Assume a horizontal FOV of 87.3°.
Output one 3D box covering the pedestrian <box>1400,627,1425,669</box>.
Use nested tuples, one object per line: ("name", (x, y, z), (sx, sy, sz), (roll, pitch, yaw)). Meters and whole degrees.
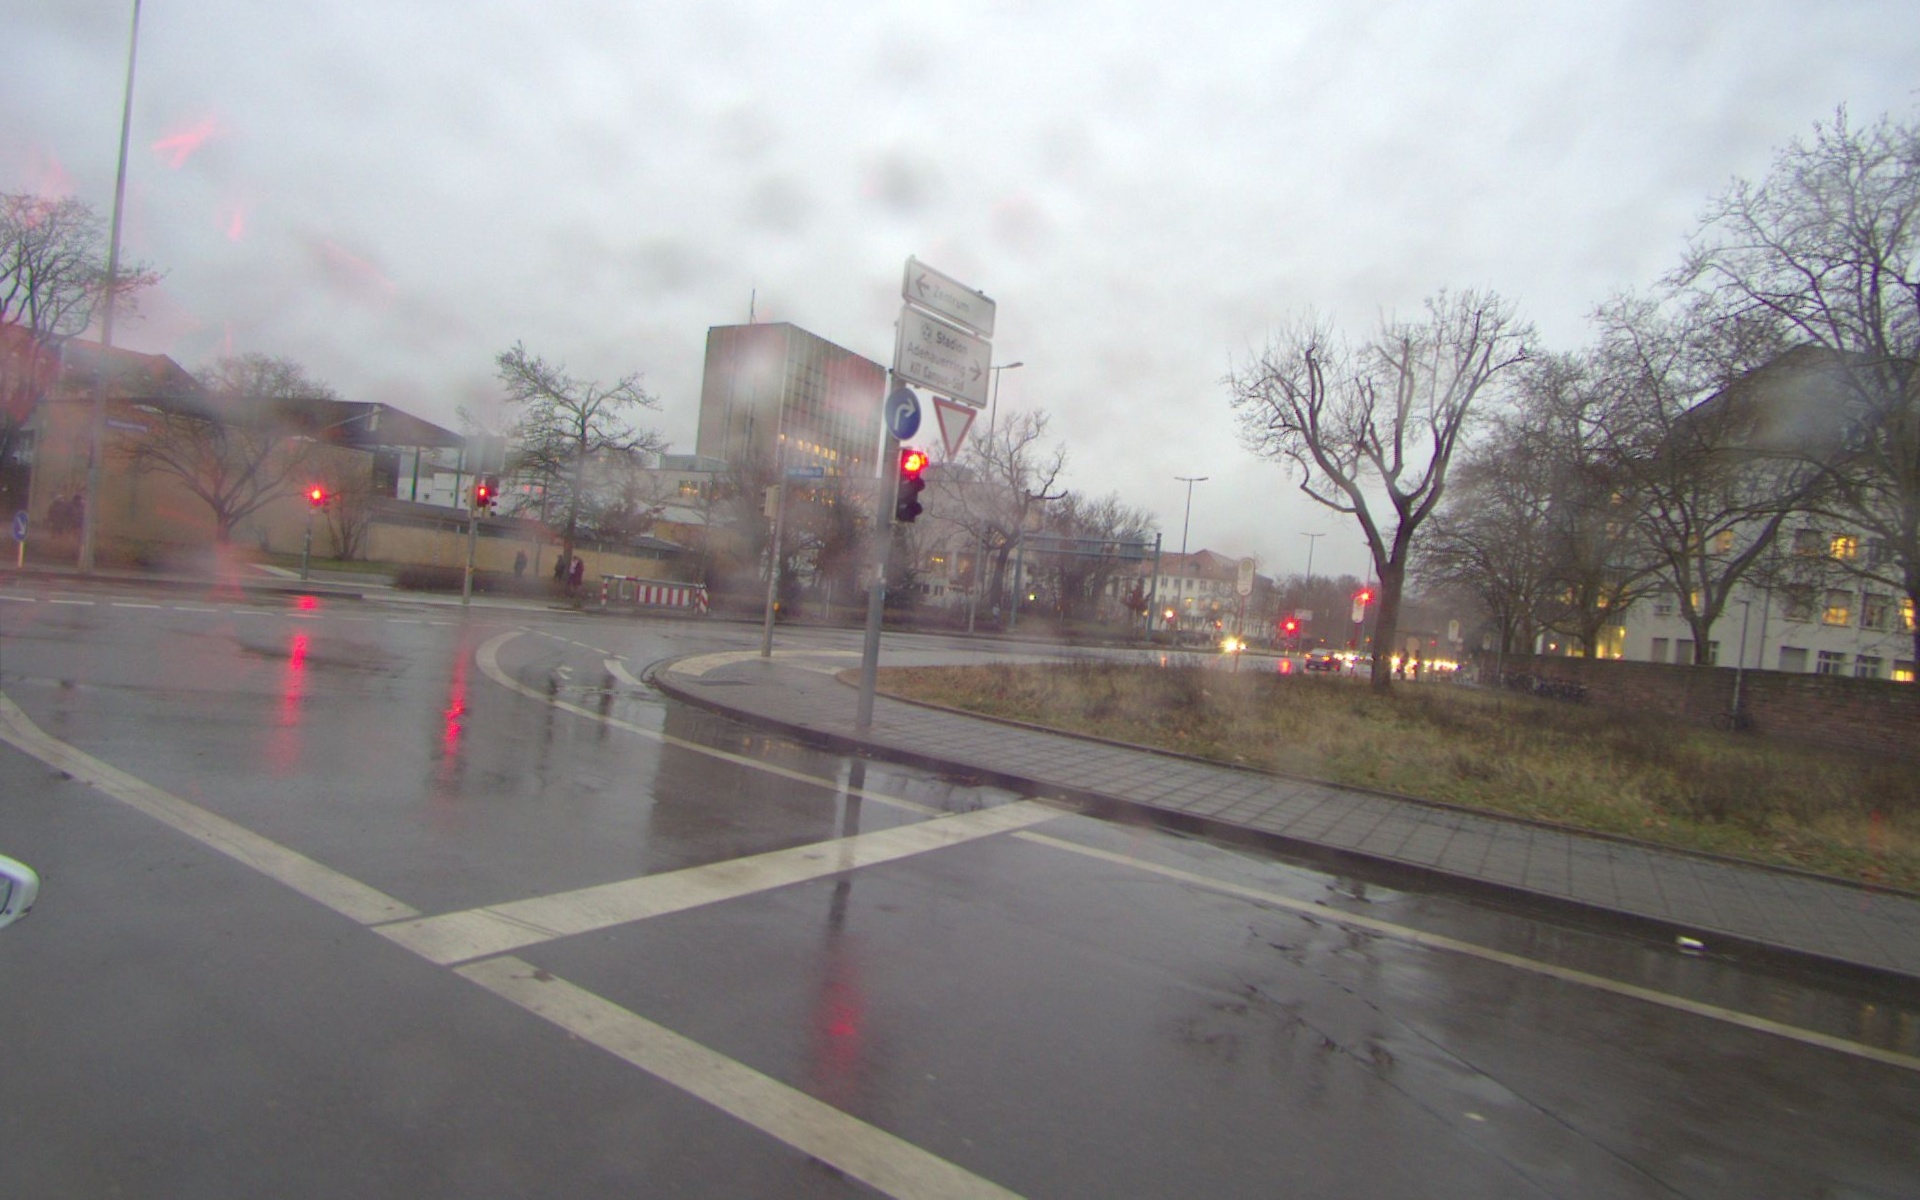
("pedestrian", (21.125, 2.235, 46.971), (0.823, 1.857, 0.667), (5, -1, 34))

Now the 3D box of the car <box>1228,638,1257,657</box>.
("car", (30.509, 5.096, 108.559), (1.719, 1.670, 4.240), (5, -3, 33))

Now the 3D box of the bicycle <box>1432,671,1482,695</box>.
("bicycle", (26.940, 4.503, 54.545), (2.373, 1.003, 0.479), (4, -2, 31))

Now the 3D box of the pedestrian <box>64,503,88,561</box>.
("pedestrian", (-29.109, -2.226, 33.131), (0.456, 1.860, 0.434), (6, -1, -41))

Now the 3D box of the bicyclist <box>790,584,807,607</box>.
("bicyclist", (-9.632, -0.246, 59.925), (0.599, 1.261, 0.697), (5, -2, 40))

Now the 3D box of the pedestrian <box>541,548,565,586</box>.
("pedestrian", (-19.559, -1.605, 48.393), (0.749, 1.745, 0.623), (5, -2, 38))

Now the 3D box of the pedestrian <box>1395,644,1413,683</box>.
("pedestrian", (21.727, 3.116, 49.268), (0.633, 1.857, 0.836), (5, -1, 23))

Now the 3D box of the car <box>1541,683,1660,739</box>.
("car", (14.867, 2.590, 23.331), (2.656, 0.989, 1.290), (7, 1, -34))

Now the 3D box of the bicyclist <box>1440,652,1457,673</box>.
("bicyclist", (26.629, 3.396, 54.831), (0.690, 1.092, 0.494), (5, -2, 32))

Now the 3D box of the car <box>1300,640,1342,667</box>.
("car", (26.519, 3.955, 73.870), (1.861, 1.670, 3.635), (4, -3, 35))

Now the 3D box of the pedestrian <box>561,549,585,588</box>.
("pedestrian", (-18.340, -1.483, 47.696), (0.749, 1.745, 0.623), (5, -2, 38))

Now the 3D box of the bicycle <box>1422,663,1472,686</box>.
("bicycle", (26.853, 4.124, 55.477), (2.373, 1.003, 0.537), (5, -2, 31))

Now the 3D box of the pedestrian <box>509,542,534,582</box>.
("pedestrian", (-20.312, -1.753, 46.601), (0.749, 1.745, 0.623), (5, -2, 38))

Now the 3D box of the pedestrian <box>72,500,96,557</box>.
("pedestrian", (-29.758, -2.427, 34.168), (0.435, 1.860, 0.455), (6, -1, -40))

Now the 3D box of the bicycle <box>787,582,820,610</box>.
("bicycle", (-9.358, -0.214, 60.272), (0.584, 1.439, 1.922), (5, -2, 40))
